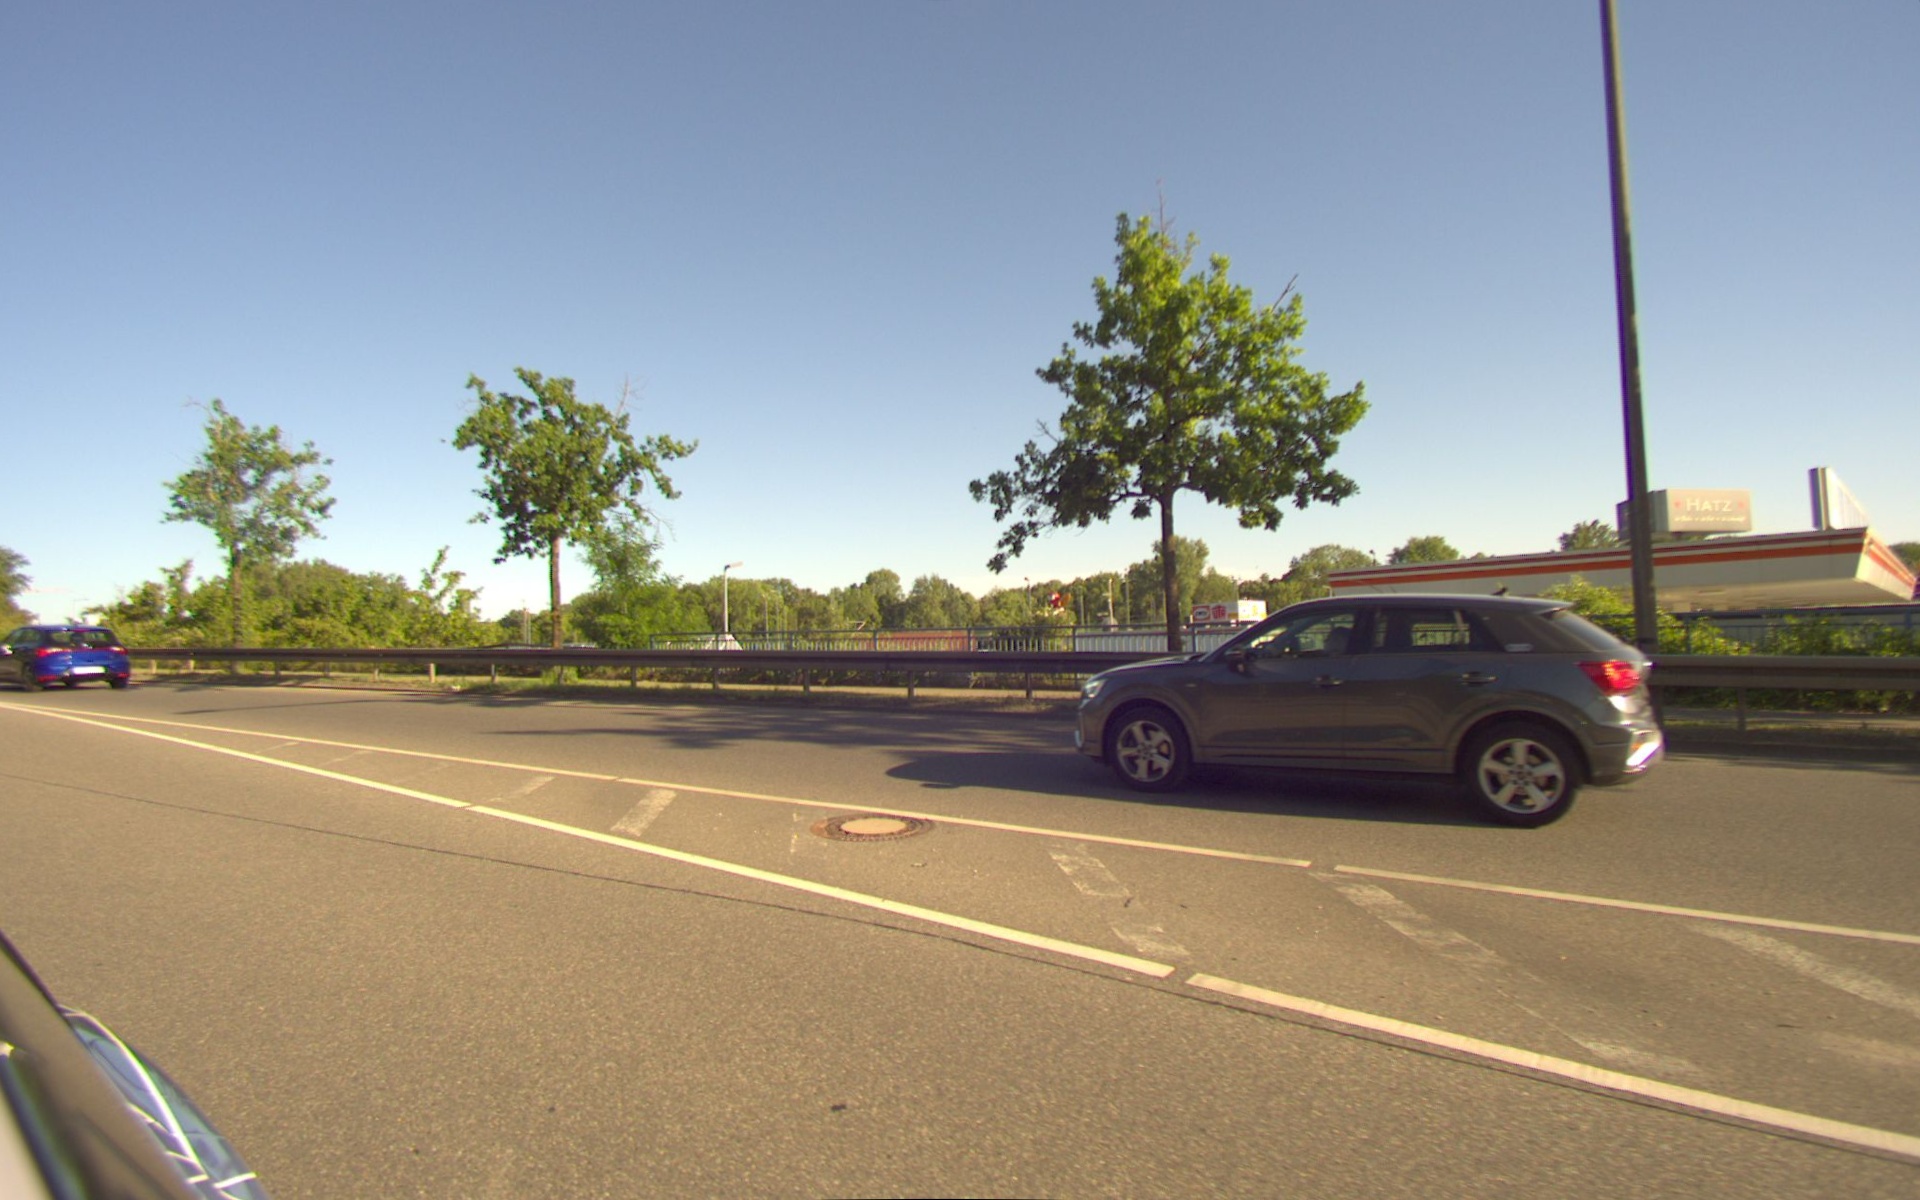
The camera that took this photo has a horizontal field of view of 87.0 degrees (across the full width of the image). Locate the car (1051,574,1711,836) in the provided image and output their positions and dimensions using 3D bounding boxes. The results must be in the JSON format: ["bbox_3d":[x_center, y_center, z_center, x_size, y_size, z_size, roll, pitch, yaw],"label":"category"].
[{"bbox_3d":[2.996,0.633,7.728,4.265,1.500,1.748,-1,0,34],"label":"car"}]

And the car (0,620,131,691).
[{"bbox_3d":[-20.260,1.191,22.492,3.835,1.456,1.652,-1,-2,31],"label":"car"}]
